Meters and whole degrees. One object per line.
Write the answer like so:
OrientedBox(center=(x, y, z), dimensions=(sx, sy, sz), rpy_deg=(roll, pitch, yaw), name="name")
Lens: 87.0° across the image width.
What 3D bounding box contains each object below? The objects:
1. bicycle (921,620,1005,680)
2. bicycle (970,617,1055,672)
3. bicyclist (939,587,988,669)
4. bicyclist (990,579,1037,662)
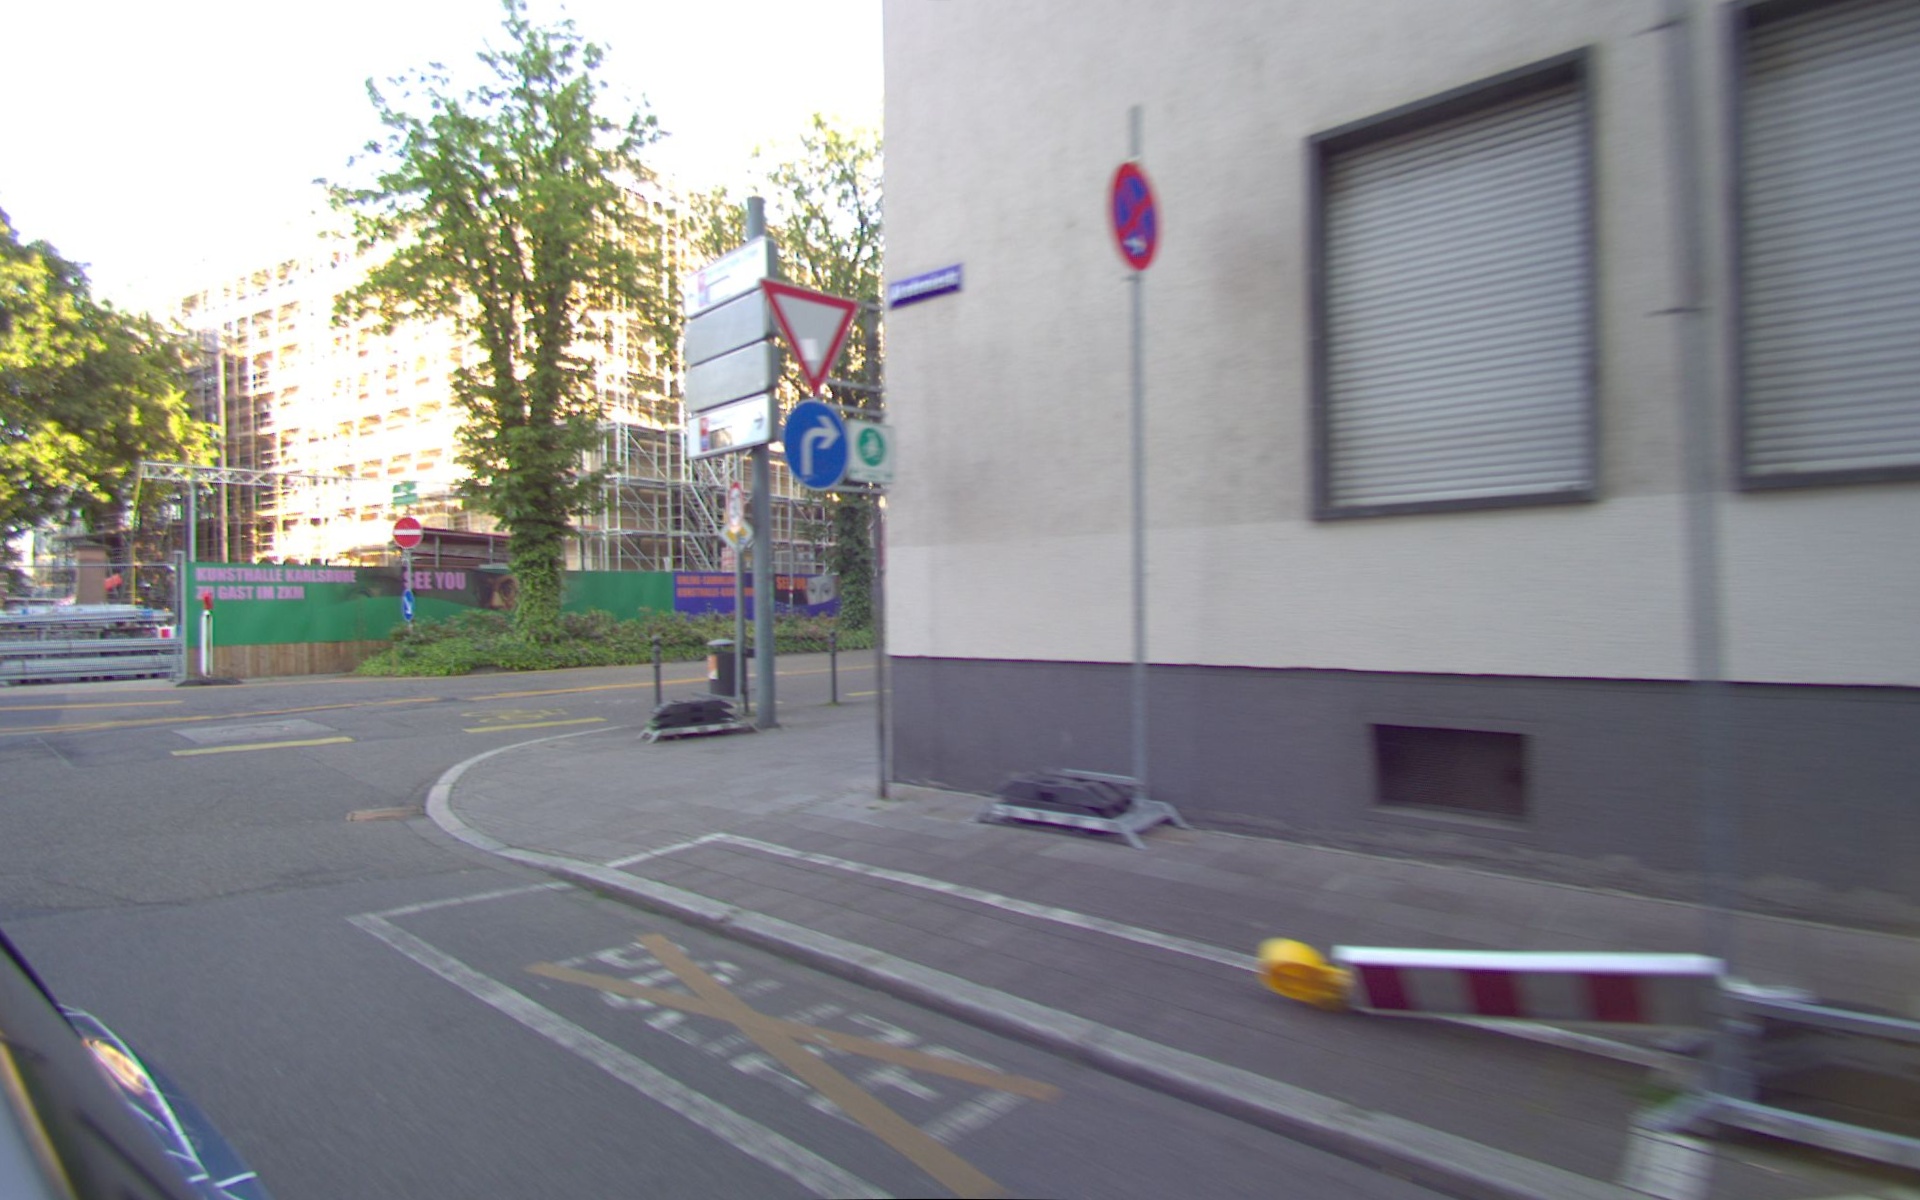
OrientedBox(center=(0.081, 0.959, 20.104), dimensions=(0.671, 1.079, 1.877), rpy_deg=(1, 1, 37), name="bicycle")
OrientedBox(center=(1.188, 0.958, 22.307), dimensions=(0.654, 1.079, 2.228), rpy_deg=(1, 1, 40), name="bicycle")
OrientedBox(center=(0.074, 0.543, 20.092), dimensions=(0.670, 1.577, 0.689), rpy_deg=(1, 1, 38), name="bicyclist")
OrientedBox(center=(1.187, 0.434, 22.293), dimensions=(0.651, 1.773, 0.853), rpy_deg=(1, 2, 40), name="bicyclist")
